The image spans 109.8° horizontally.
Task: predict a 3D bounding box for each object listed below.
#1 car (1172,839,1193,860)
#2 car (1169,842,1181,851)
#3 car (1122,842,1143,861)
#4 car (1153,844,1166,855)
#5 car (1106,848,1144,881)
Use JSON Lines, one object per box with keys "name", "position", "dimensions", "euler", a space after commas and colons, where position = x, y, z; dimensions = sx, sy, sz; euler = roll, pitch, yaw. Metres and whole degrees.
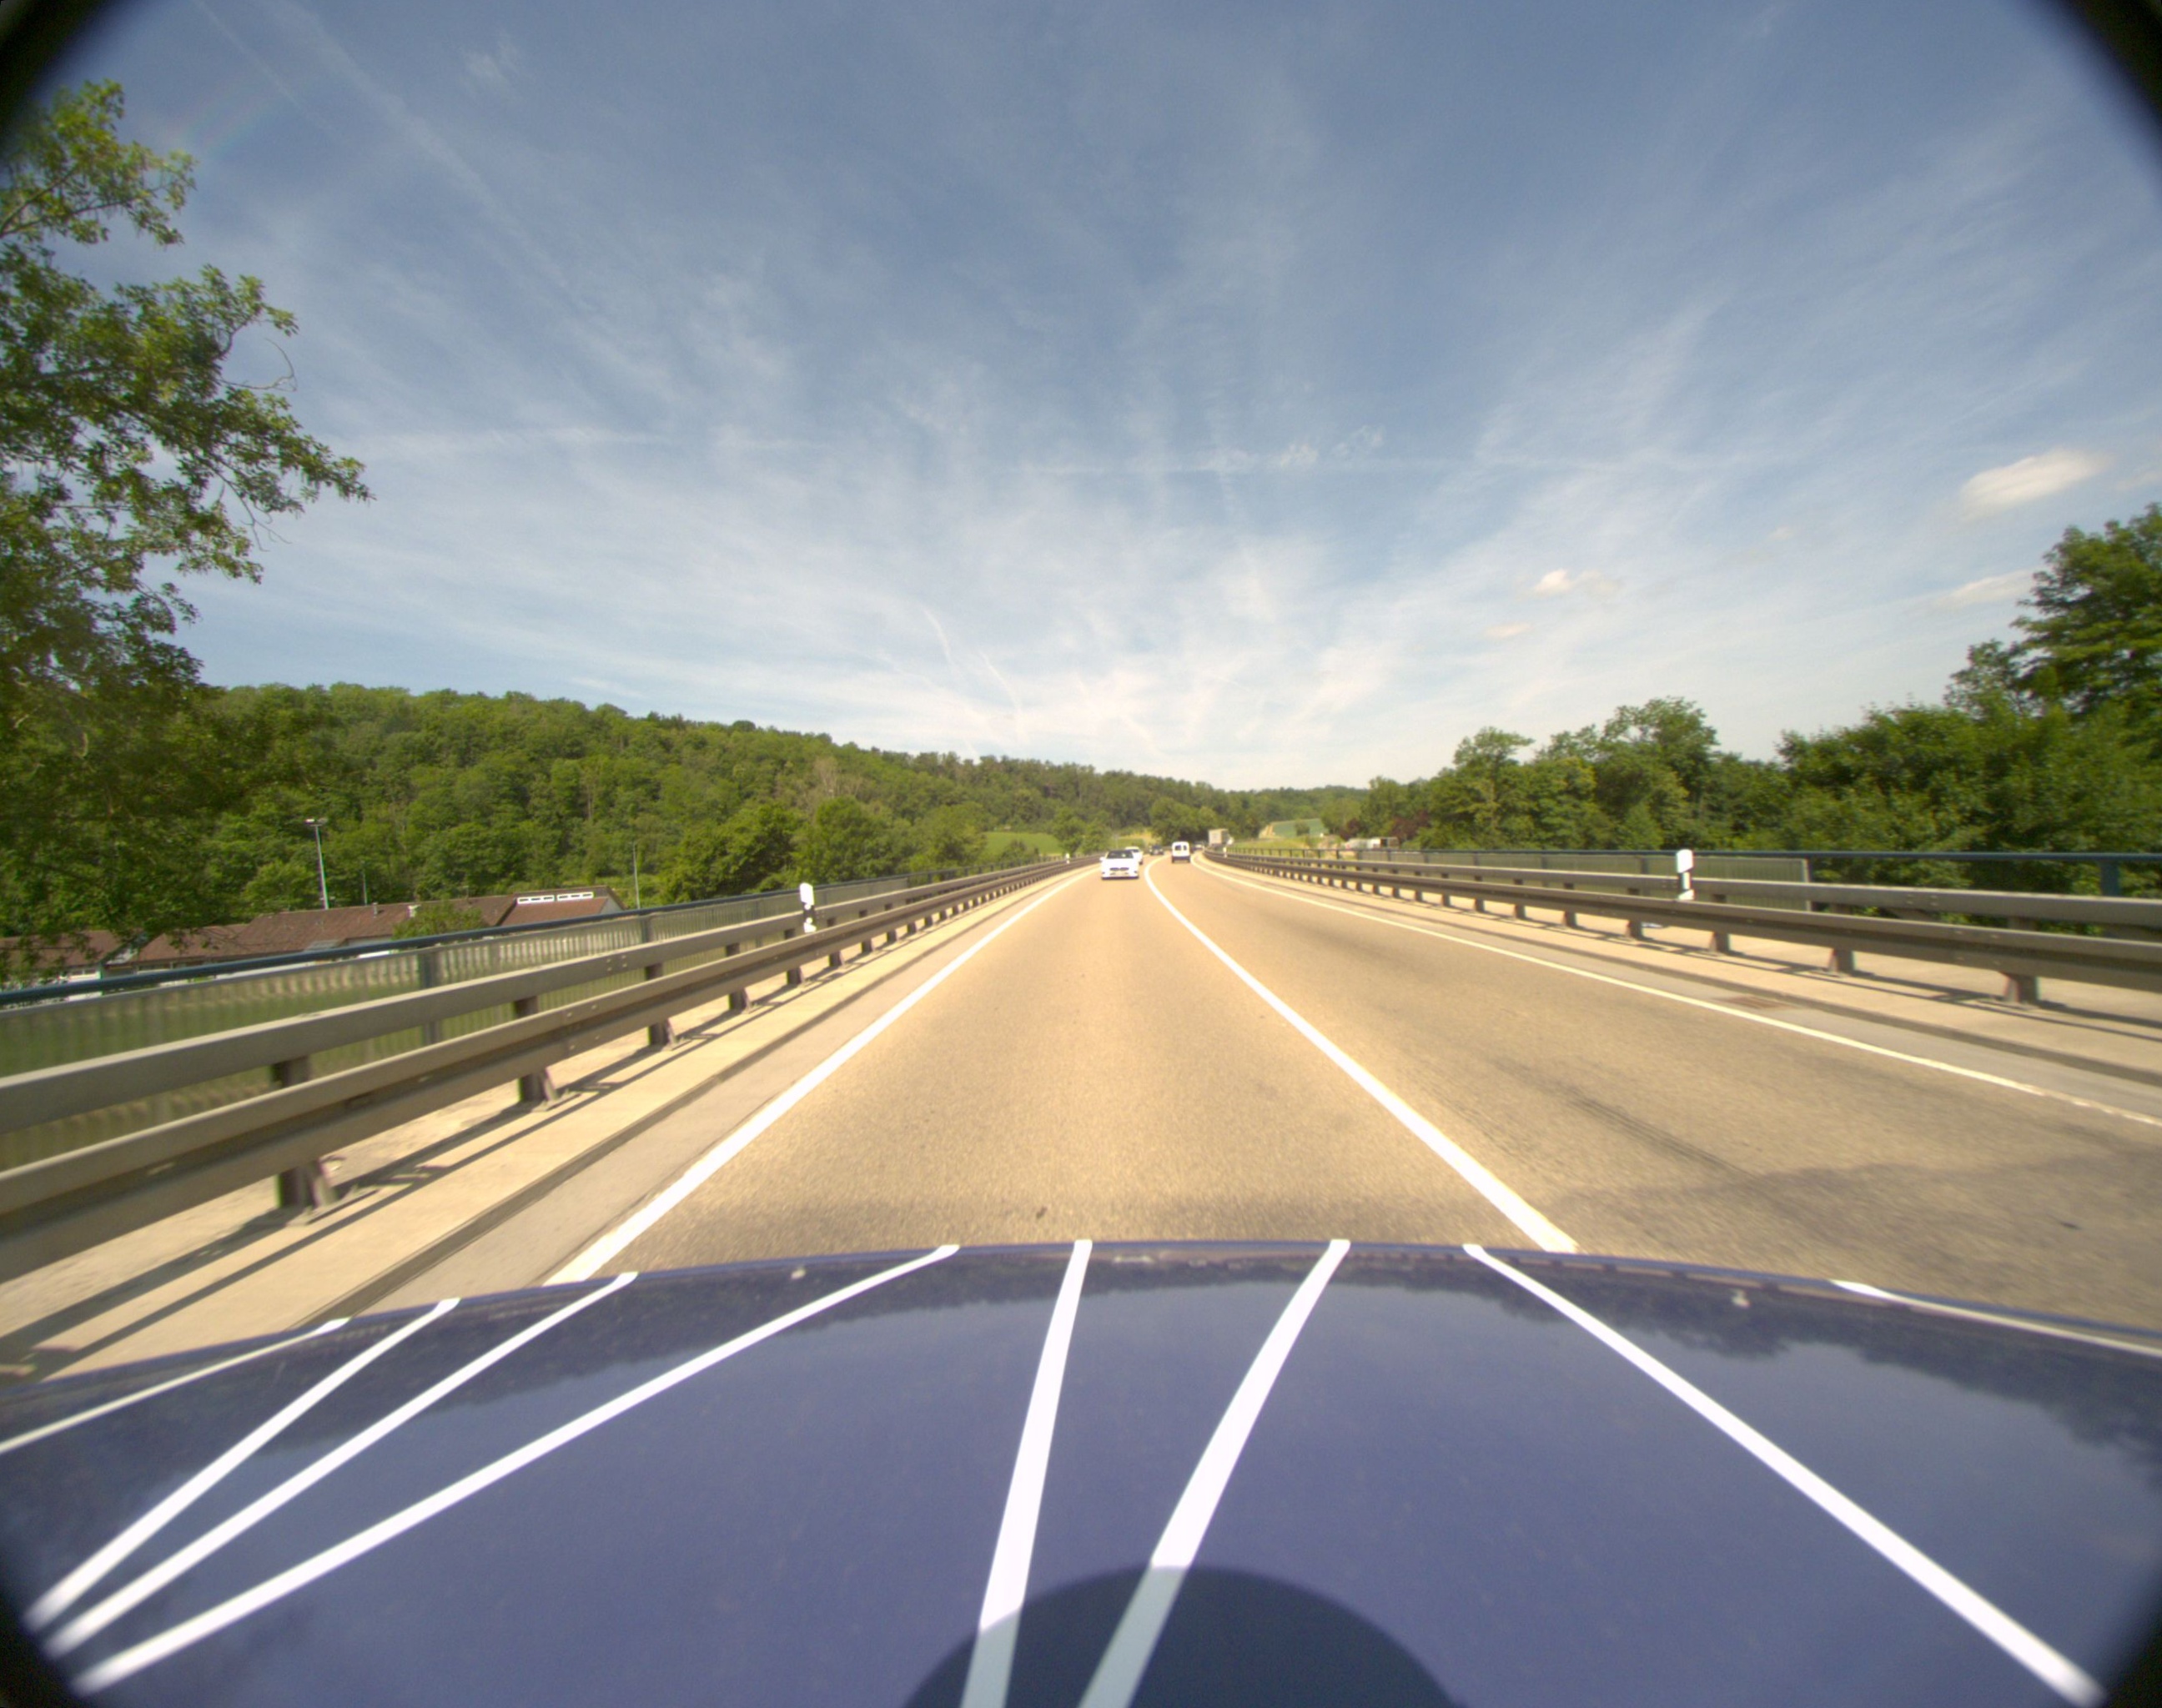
{"name": "car", "position": [8.924, -0.395, 67.010], "dimensions": [1.742, 1.765, 4.037], "euler": [-2, 1, 7]}
{"name": "car", "position": [17.228, -1.403, 138.891], "dimensions": [1.741, 1.445, 4.039], "euler": [-2, 1, 12]}
{"name": "car", "position": [4.344, -0.239, 64.158], "dimensions": [1.717, 1.523, 4.000], "euler": [-3, 1, 4]}
{"name": "car", "position": [11.238, -0.647, 108.539], "dimensions": [1.742, 1.445, 4.037], "euler": [-2, 1, 5]}
{"name": "car", "position": [2.143, 0.467, 37.781], "dimensions": [1.742, 1.445, 4.035], "euler": [-2, 1, 2]}
